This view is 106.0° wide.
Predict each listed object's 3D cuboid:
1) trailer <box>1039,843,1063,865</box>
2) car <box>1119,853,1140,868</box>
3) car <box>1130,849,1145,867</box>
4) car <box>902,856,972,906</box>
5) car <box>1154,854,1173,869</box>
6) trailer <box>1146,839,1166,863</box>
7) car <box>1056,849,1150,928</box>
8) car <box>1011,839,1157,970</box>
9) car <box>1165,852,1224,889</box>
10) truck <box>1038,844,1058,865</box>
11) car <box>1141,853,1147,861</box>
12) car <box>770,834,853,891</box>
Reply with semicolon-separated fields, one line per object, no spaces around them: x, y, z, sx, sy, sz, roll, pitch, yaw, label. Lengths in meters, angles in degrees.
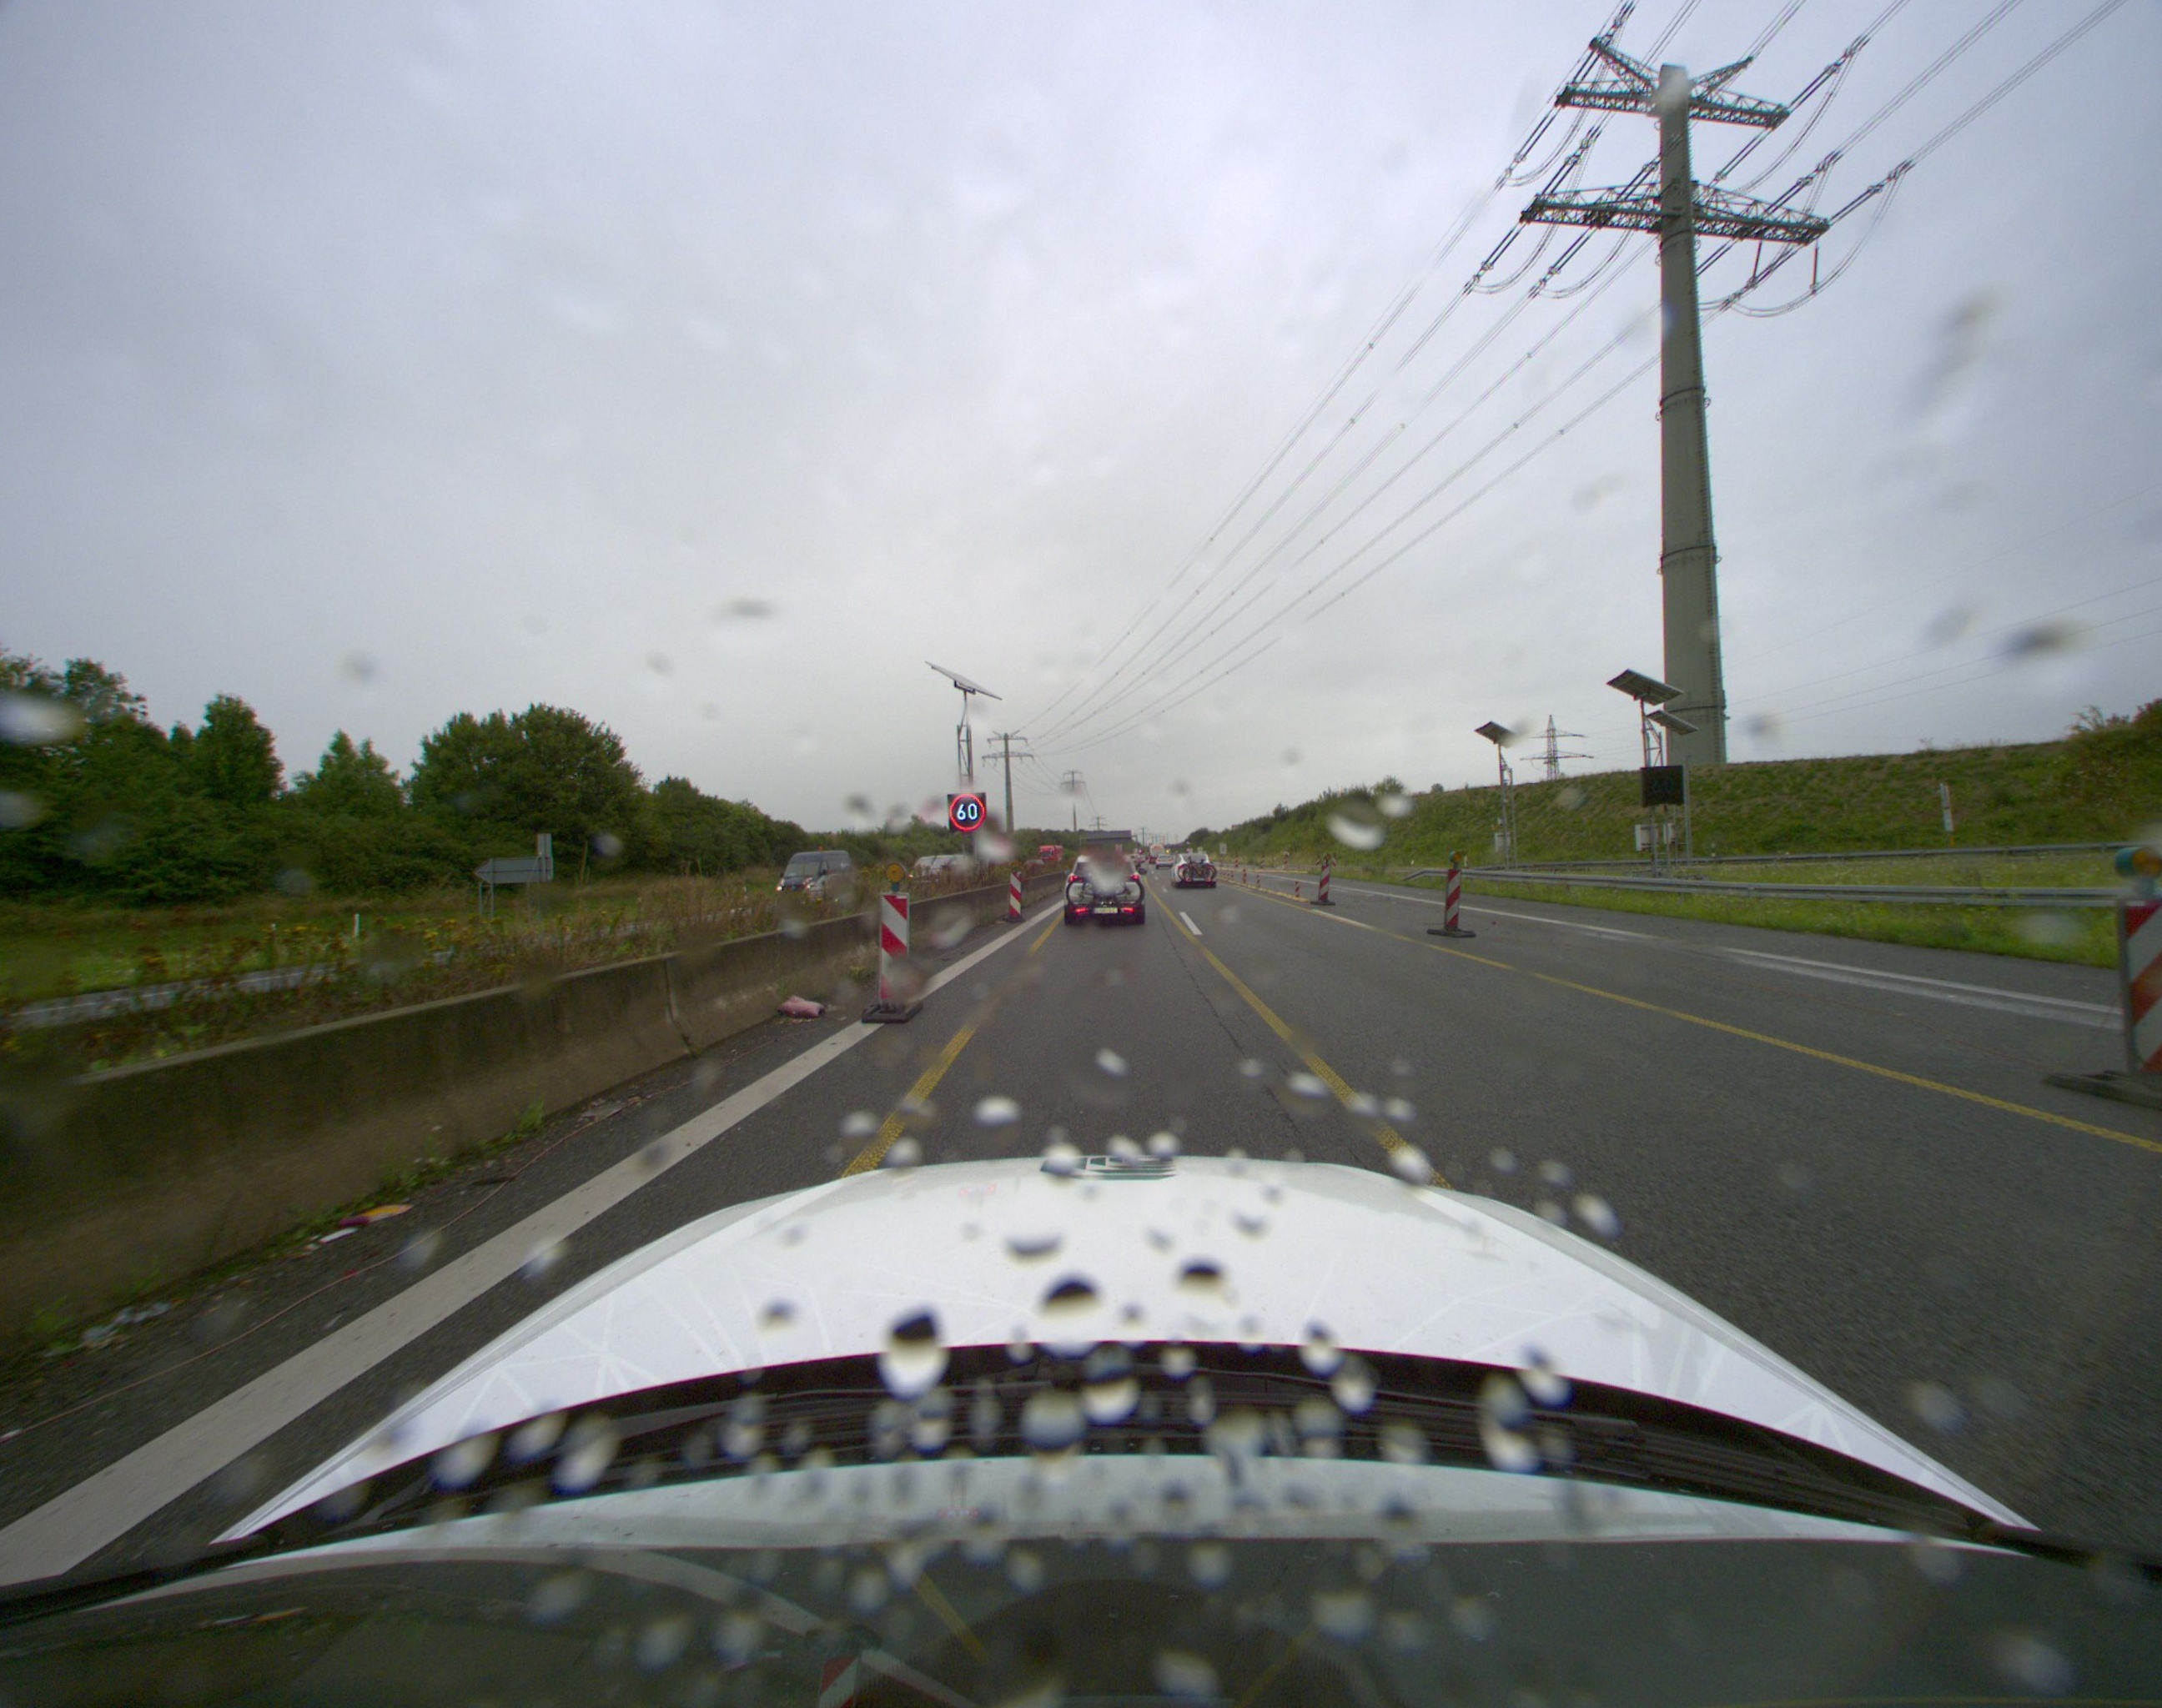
-5.405;0.033;149.889;3.025;3.814;13.987;-1;-1;3;trailer
5.228;0.664;88.089;1.987;1.584;4.000;-1;0;1;car
8.010;0.558;115.316;1.986;2.012;4.004;0;7;1;car
-6.264;1.136;36.037;1.760;2.014;5.259;1;0;4;car
8.854;0.828;87.365;1.861;1.535;4.202;-1;0;4;car
12.732;-0.389;138.529;2.628;3.893;10.544;-1;-1;1;trailer
0.585;0.717;19.118;1.920;1.611;4.599;-1;0;3;car
0.127;0.711;13.536;1.986;1.760;4.003;-3;0;2;car
5.235;0.739;38.340;2.038;1.596;5.802;-1;0;1;car
-5.794;0.116;142.715;3.012;3.531;4.930;-1;-1;3;truck
17.463;0.822;225.751;1.646;2.013;4.006;-1;0;5;car
-13.372;0.430;40.896;2.043;2.609;5.849;-1;-1;2;car
